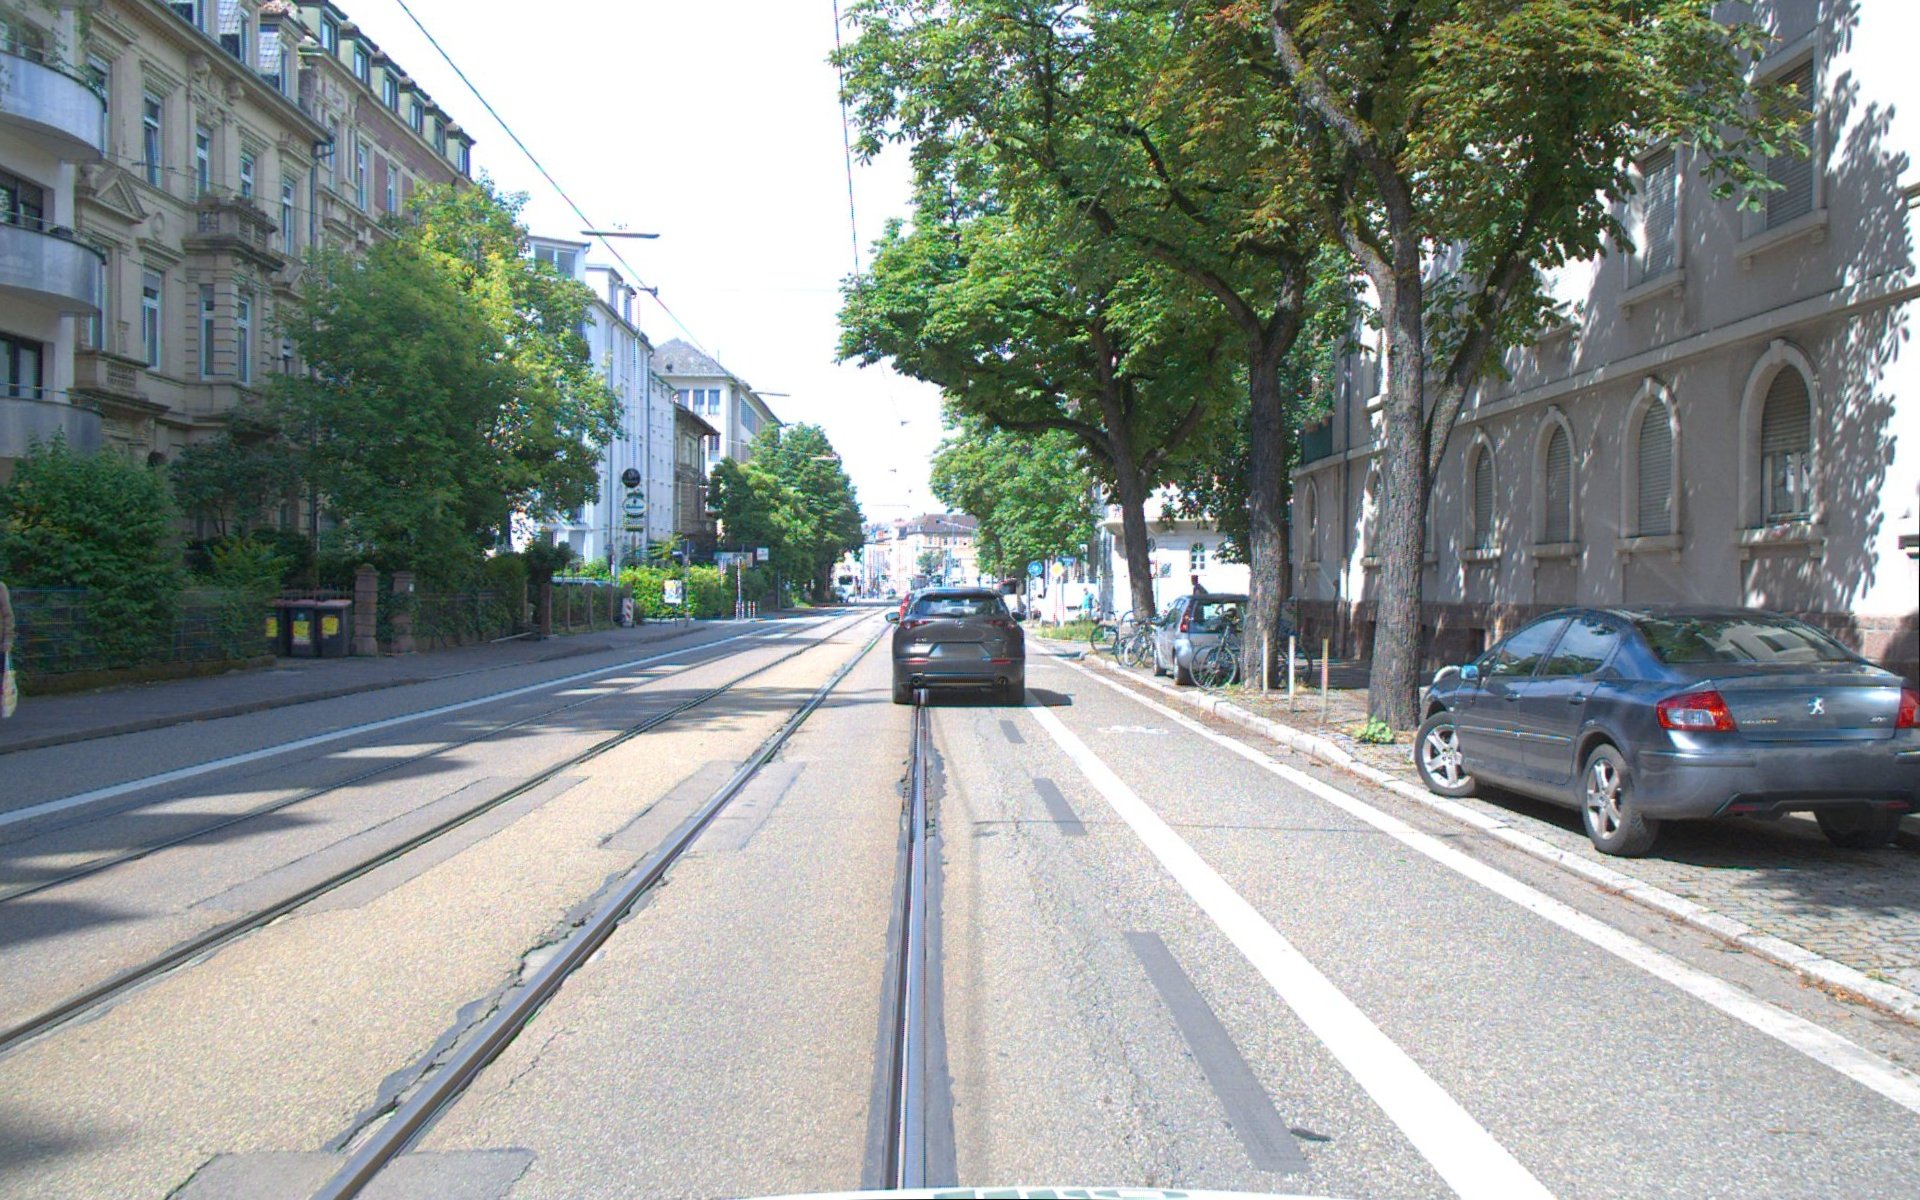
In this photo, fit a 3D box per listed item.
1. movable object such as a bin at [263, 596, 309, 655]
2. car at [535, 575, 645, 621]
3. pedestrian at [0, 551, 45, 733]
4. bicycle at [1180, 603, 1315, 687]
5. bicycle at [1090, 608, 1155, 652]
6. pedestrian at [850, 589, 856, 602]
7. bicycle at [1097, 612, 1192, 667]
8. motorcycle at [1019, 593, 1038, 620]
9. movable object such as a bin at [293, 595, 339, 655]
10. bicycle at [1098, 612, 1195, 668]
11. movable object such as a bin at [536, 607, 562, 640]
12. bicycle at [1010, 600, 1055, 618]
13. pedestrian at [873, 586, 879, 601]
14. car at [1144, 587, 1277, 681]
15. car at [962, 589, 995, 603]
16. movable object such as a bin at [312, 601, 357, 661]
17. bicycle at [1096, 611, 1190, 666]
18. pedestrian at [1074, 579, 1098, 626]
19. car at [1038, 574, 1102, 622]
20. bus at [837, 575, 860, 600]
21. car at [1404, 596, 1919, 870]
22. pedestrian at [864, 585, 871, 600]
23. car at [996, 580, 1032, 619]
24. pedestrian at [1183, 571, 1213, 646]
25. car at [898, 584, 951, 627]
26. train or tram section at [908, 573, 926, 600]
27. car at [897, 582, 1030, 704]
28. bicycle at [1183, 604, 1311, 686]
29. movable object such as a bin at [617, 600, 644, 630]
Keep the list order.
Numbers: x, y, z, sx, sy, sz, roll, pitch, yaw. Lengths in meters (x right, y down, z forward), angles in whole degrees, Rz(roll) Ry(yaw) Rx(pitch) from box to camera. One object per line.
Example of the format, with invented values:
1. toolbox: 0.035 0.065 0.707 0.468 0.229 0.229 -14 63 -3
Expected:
1. movable object such as a bin: -13.004 0.483 31.923 0.538 1.127 0.790 0 0 3
2. car: -16.991 -0.095 75.990 4.566 2.049 2.047 0 0 21
3. pedestrian: -9.565 0.396 16.135 0.806 1.736 0.890 0 0 -5
4. bicycle: 4.181 0.650 24.085 1.895 1.196 0.513 -1 -1 10
5. bicycle: 3.741 0.694 38.130 1.460 1.000 0.259 0 0 0
6. pedestrian: -12.980 -0.546 200.318 0.736 1.537 0.823 0 0 -6
7. bicycle: 3.718 0.790 33.386 1.865 1.091 0.402 0 0 -1
8. motorcycle: 3.323 0.309 80.407 0.778 1.293 2.421 0 0 -2
9. movable object such as a bin: -12.442 0.475 31.979 0.538 1.127 0.790 0 0 3
10. bicycle: 3.713 0.794 32.951 1.865 1.091 0.402 0 0 -1
11. movable object such as a bin: -11.333 0.643 45.635 0.551 0.891 0.616 0 0 -1
12. bicycle: 3.677 0.446 83.600 2.229 0.876 0.671 0 0 -3
13. pedestrian: -11.427 -0.893 224.849 0.867 2.049 0.617 0 0 -5
14. car: 4.262 0.544 28.644 1.632 1.455 3.765 -2 0 -1
15. car: 2.370 -0.496 212.183 3.749 1.646 1.628 3 0 -20
16. movable object such as a bin: -11.996 0.588 31.746 0.526 1.113 0.790 0 0 3
17. bicycle: 3.727 0.785 33.798 1.865 1.091 0.402 0 0 -1
18. pedestrian: 5.120 0.109 67.037 0.799 1.868 0.961 1 1 -6
19. car: 4.625 -0.115 70.059 1.753 1.972 4.983 0 1 -7
20. bus: -16.590 -1.915 246.304 2.637 3.480 11.000 2 0 -7
21. car: 4.660 0.712 11.205 1.810 1.434 4.391 -2 0 -4
22. pedestrian: -12.576 -1.025 224.686 0.867 2.049 0.617 0 0 -5
23. car: 2.832 -0.036 87.231 1.685 2.003 4.206 0 0 -1
24. pedestrian: 5.991 0.224 41.663 0.598 1.868 0.878 0 -2 -4
25. car: -1.395 0.213 64.713 1.953 1.555 3.999 3 0 -2
26. train or tram section: -6.332 -2.011 246.218 2.519 3.838 13.023 0 0 -1
27. car: 0.000 0.536 22.831 1.686 1.553 3.588 0 0 -2
28. bicycle: 4.284 0.667 24.694 1.853 1.196 0.513 -1 -1 10
29. movable object such as a bin: -11.625 0.523 58.335 0.730 1.005 1.114 2 0 -2
